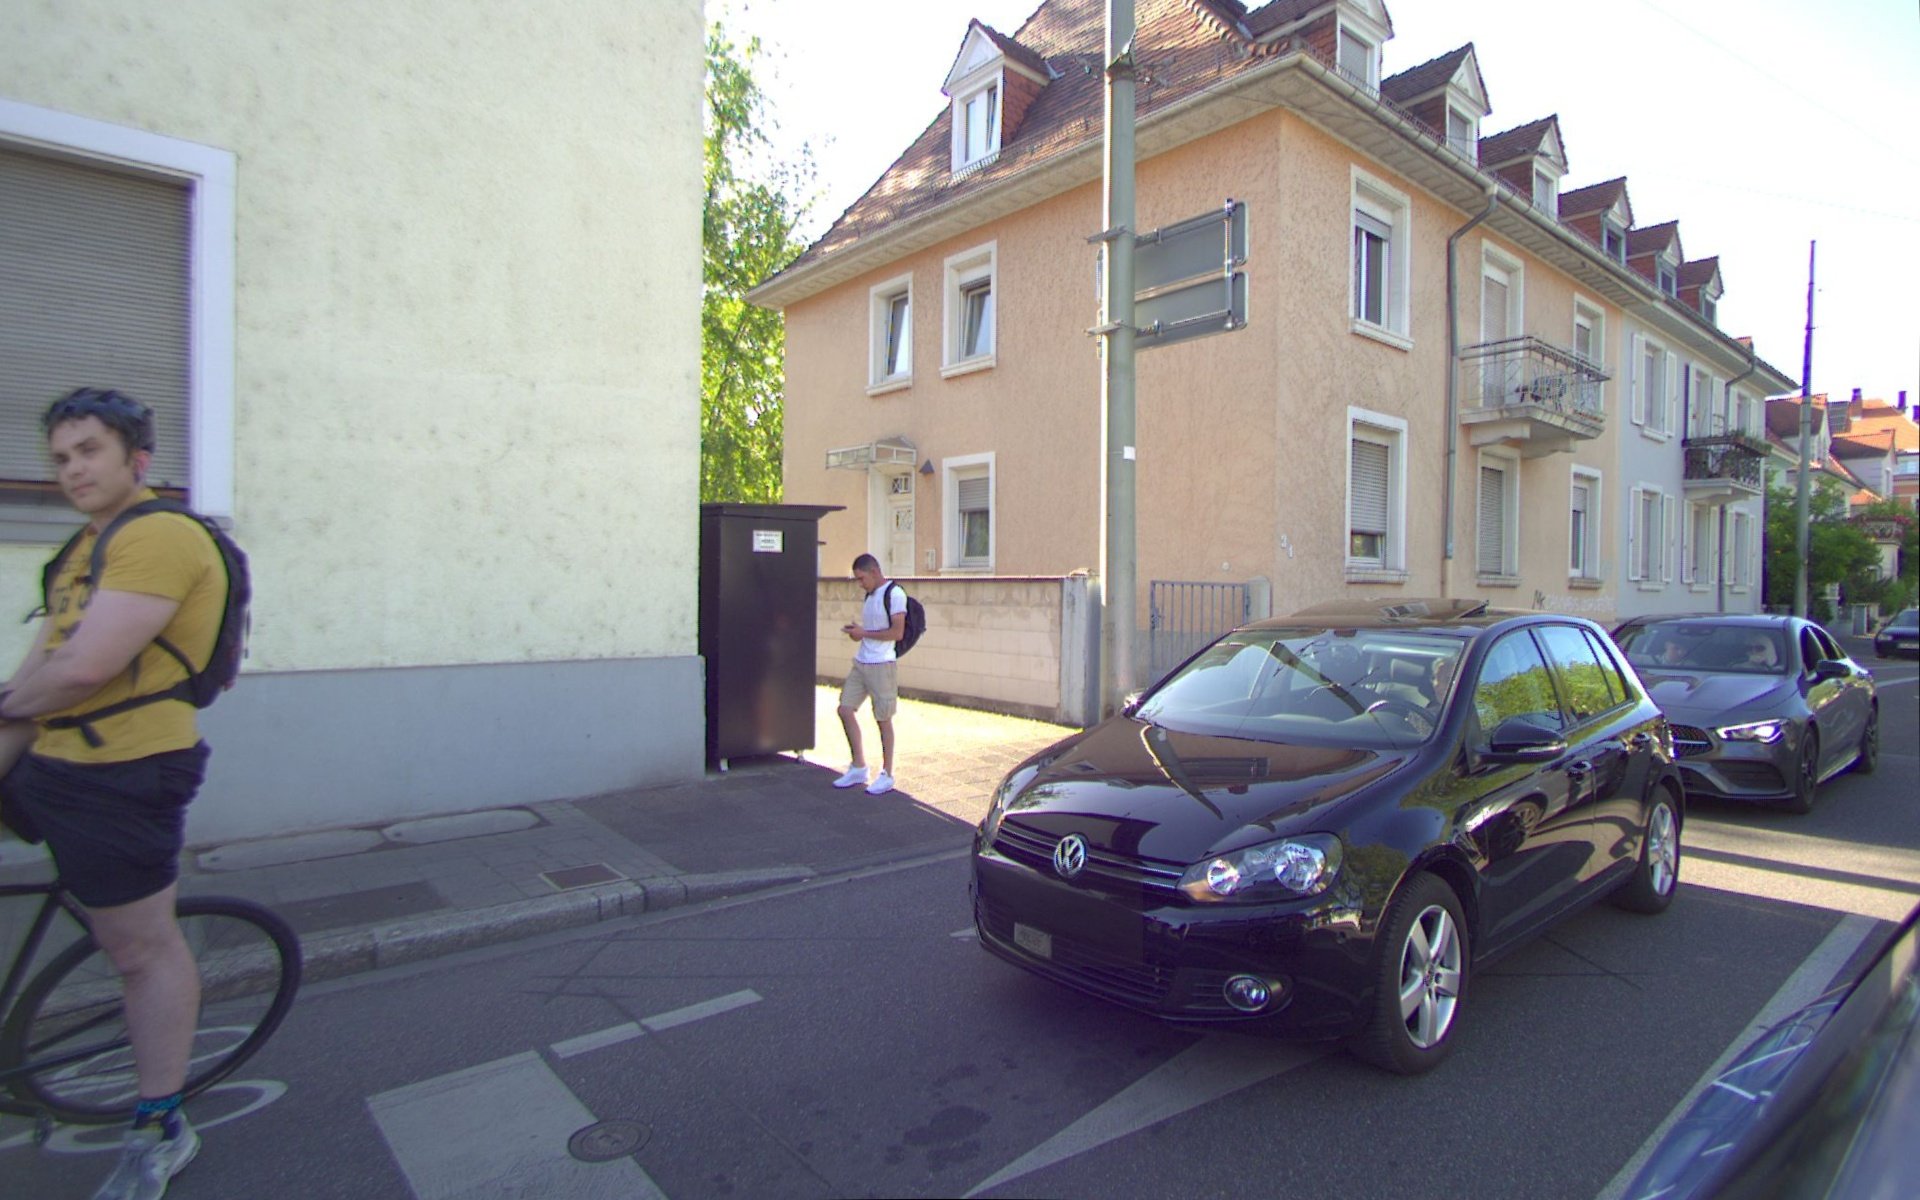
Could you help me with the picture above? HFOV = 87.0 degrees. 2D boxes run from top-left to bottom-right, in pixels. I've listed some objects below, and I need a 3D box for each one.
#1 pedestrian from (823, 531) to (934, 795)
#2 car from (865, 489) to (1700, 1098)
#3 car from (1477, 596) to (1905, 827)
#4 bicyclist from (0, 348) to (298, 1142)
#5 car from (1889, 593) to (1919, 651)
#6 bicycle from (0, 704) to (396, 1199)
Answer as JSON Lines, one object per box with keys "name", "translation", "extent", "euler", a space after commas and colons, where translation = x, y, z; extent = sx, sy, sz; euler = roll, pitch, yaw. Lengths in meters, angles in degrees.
{"name": "pedestrian", "translation": [-0.573, 0.411, 7.259], "extent": [0.577, 1.776, 0.641], "euler": [4, 4, 11]}
{"name": "car", "translation": [1.712, 0.528, 4.517], "extent": [3.979, 1.527, 1.731], "euler": [2, -1, -41]}
{"name": "car", "translation": [6.334, 0.697, 8.574], "extent": [4.413, 1.437, 1.911], "euler": [-1, 0, -40]}
{"name": "bicyclist", "translation": [-2.221, 0.304, 2.524], "extent": [0.868, 1.684, 0.807], "euler": [0, 0, -40]}
{"name": "car", "translation": [26.721, 0.570, 27.416], "extent": [3.930, 1.476, 1.839], "euler": [-1, 0, -41]}
{"name": "bicycle", "translation": [-2.386, 0.864, 2.380], "extent": [1.749, 1.044, 0.756], "euler": [-1, 0, -40]}
